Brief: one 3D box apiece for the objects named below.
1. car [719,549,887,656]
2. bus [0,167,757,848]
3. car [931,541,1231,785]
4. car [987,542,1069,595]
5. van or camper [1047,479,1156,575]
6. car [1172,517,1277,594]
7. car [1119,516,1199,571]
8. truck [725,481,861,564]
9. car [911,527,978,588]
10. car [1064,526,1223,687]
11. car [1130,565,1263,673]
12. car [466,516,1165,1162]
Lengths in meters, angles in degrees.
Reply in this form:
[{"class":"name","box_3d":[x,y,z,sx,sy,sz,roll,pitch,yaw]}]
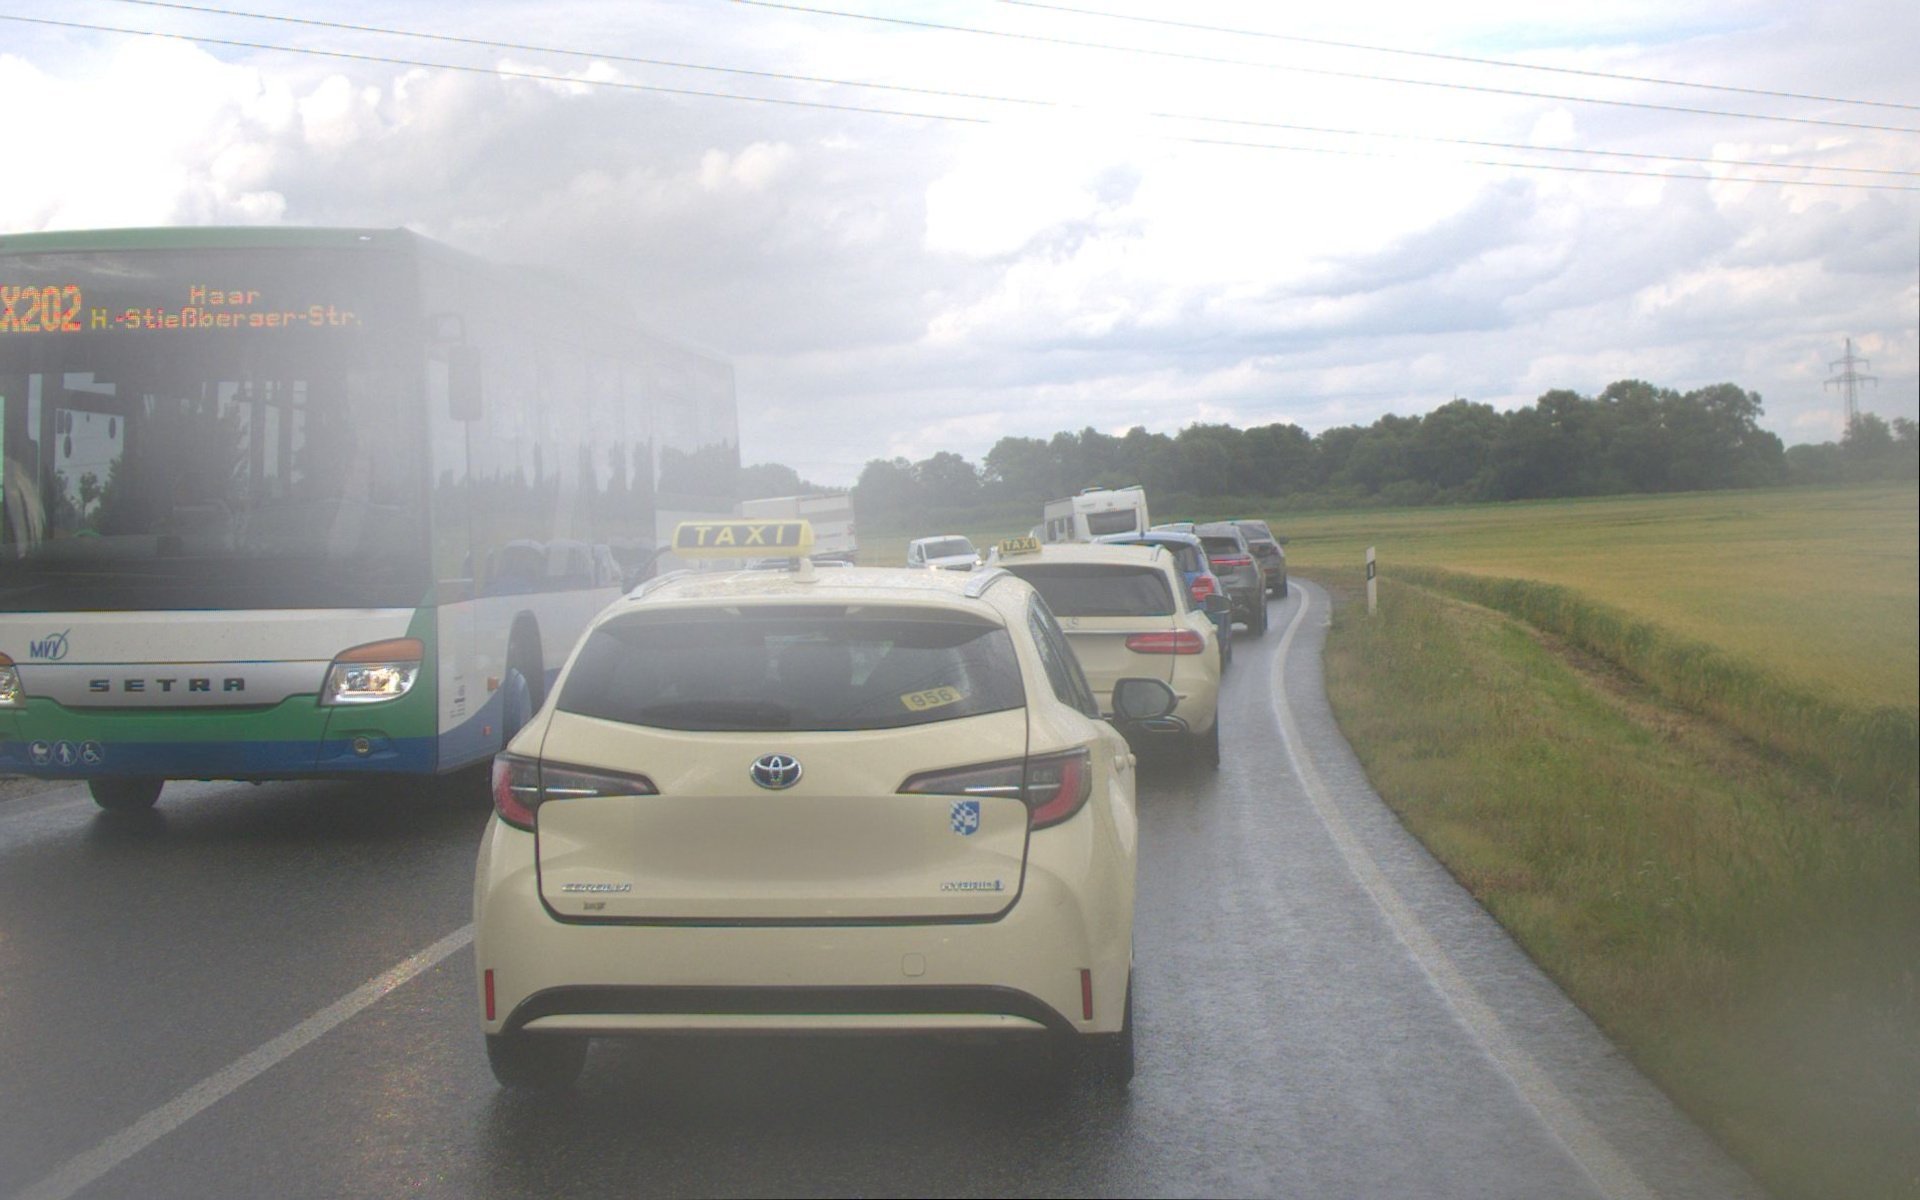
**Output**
[{"class":"car","box_3d":[-1.875,0.030,42.191,1.719,1.247,4.000,0,0,2]},{"class":"bus","box_3d":[-3.521,-0.554,22.929,2.758,3.286,12.501,0,1,4]},{"class":"car","box_3d":[0.917,0.343,23.386,1.841,1.487,4.607,0,1,4]},{"class":"car","box_3d":[1.794,-0.849,92.096,1.844,1.383,4.288,0,1,-4]},{"class":"van or camper","box_3d":[4.378,-2.276,107.442,2.536,2.886,6.744,0,1,-5]},{"class":"car","box_3d":[5.131,-0.834,66.299,1.960,1.408,4.391,0,0,5]},{"class":"car","box_3d":[5.337,-1.516,92.559,1.783,1.408,3.738,0,0,-2]},{"class":"truck","box_3d":[-6.891,-3.113,140.602,3.013,3.198,8.234,0,0,-22]},{"class":"car","box_3d":[-0.498,-1.319,106.900,1.844,1.849,4.447,0,1,-3]},{"class":"car","box_3d":[2.025,0.070,37.215,1.613,1.653,3.738,0,0,5]},{"class":"car","box_3d":[3.258,0.257,46.941,1.613,1.408,3.737,0,0,7]},{"class":"car","box_3d":[-0.248,0.579,10.232,1.613,1.557,3.737,0,0,5]}]
